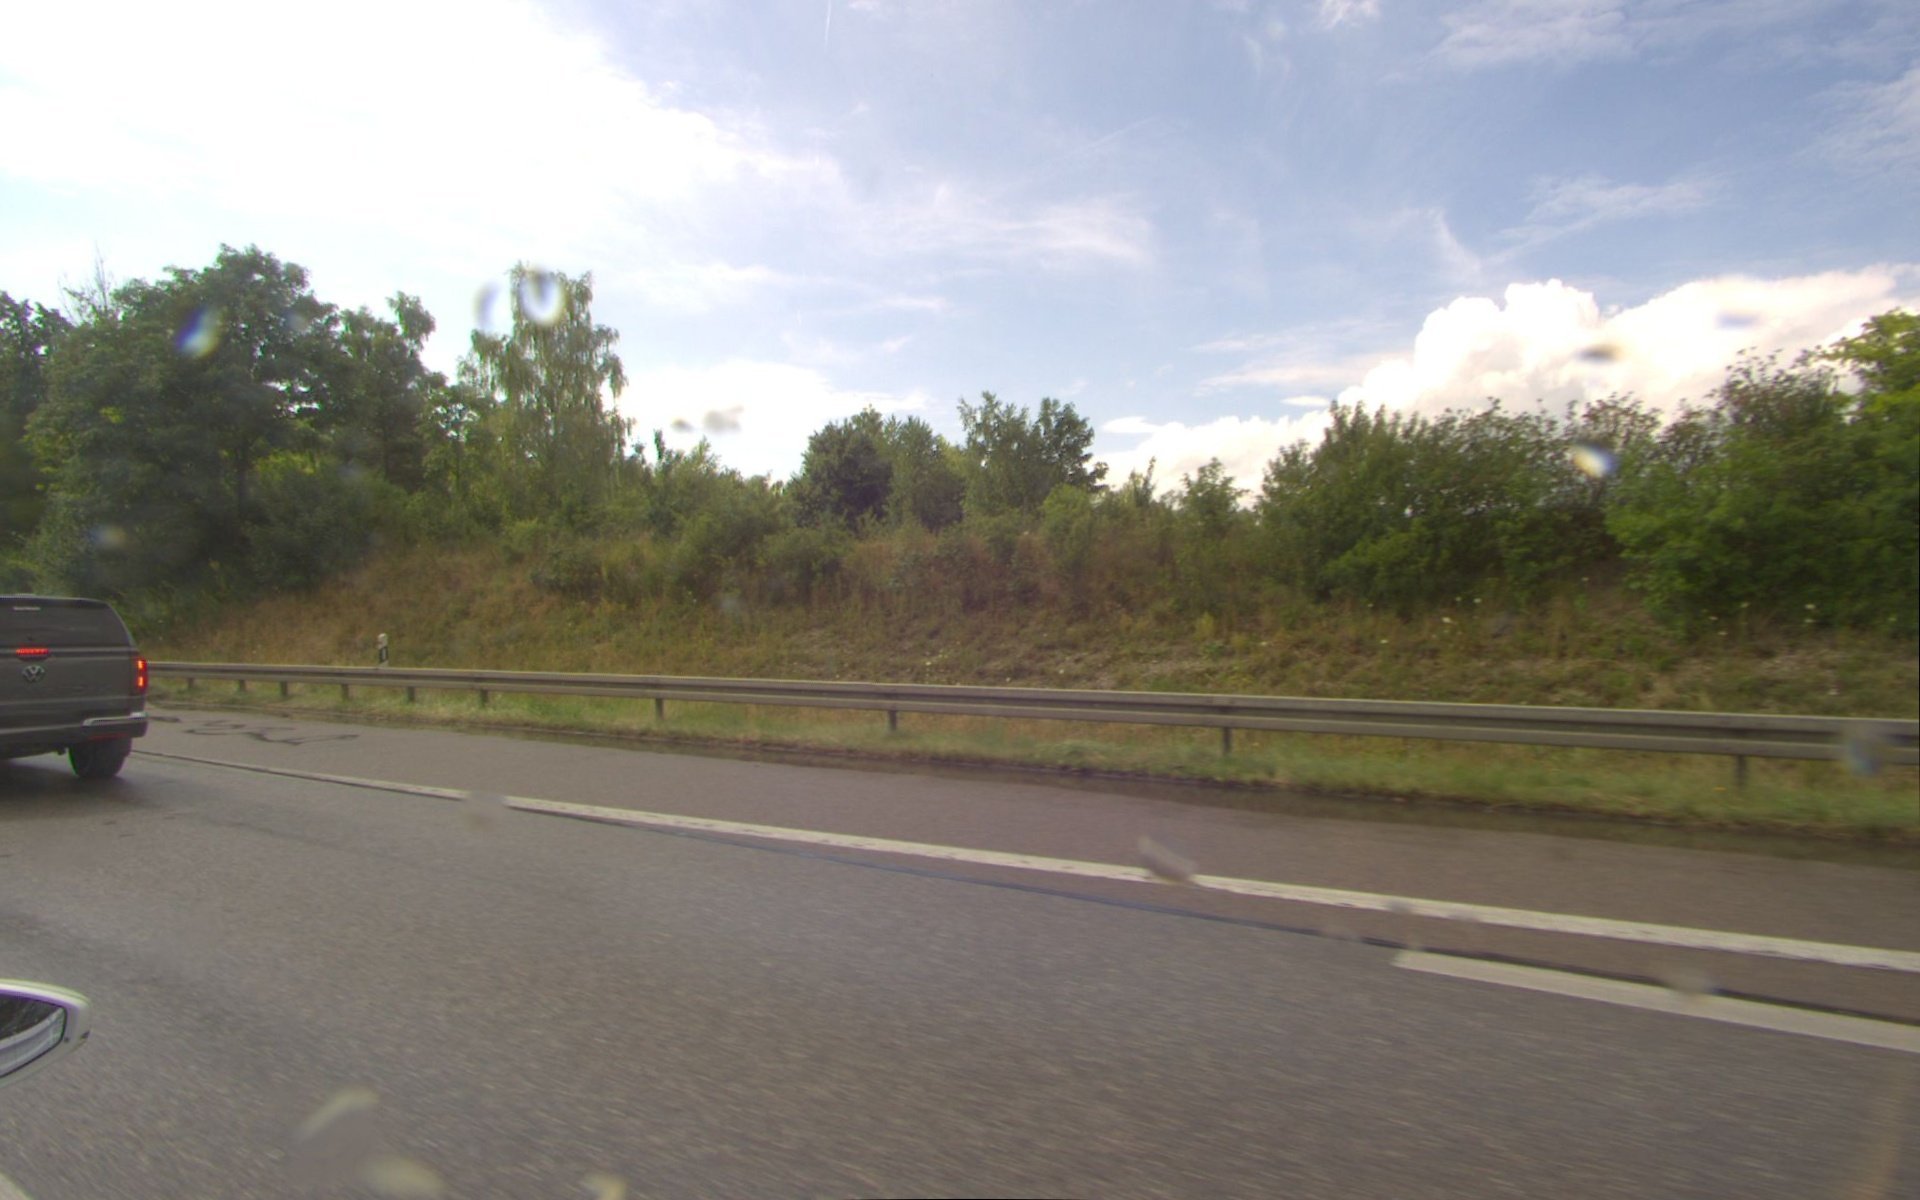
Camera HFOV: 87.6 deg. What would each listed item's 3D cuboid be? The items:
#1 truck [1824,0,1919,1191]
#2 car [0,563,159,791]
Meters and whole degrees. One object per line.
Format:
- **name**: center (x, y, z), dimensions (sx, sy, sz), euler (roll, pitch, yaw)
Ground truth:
- **truck**: center (4.806, -0.514, 0.342), dimensions (6.302, 3.940, 3.280), euler (-1, -2, 31)
- **car**: center (-10.469, 0.715, 10.127), dimensions (5.570, 1.943, 1.939), euler (-1, -2, 31)
